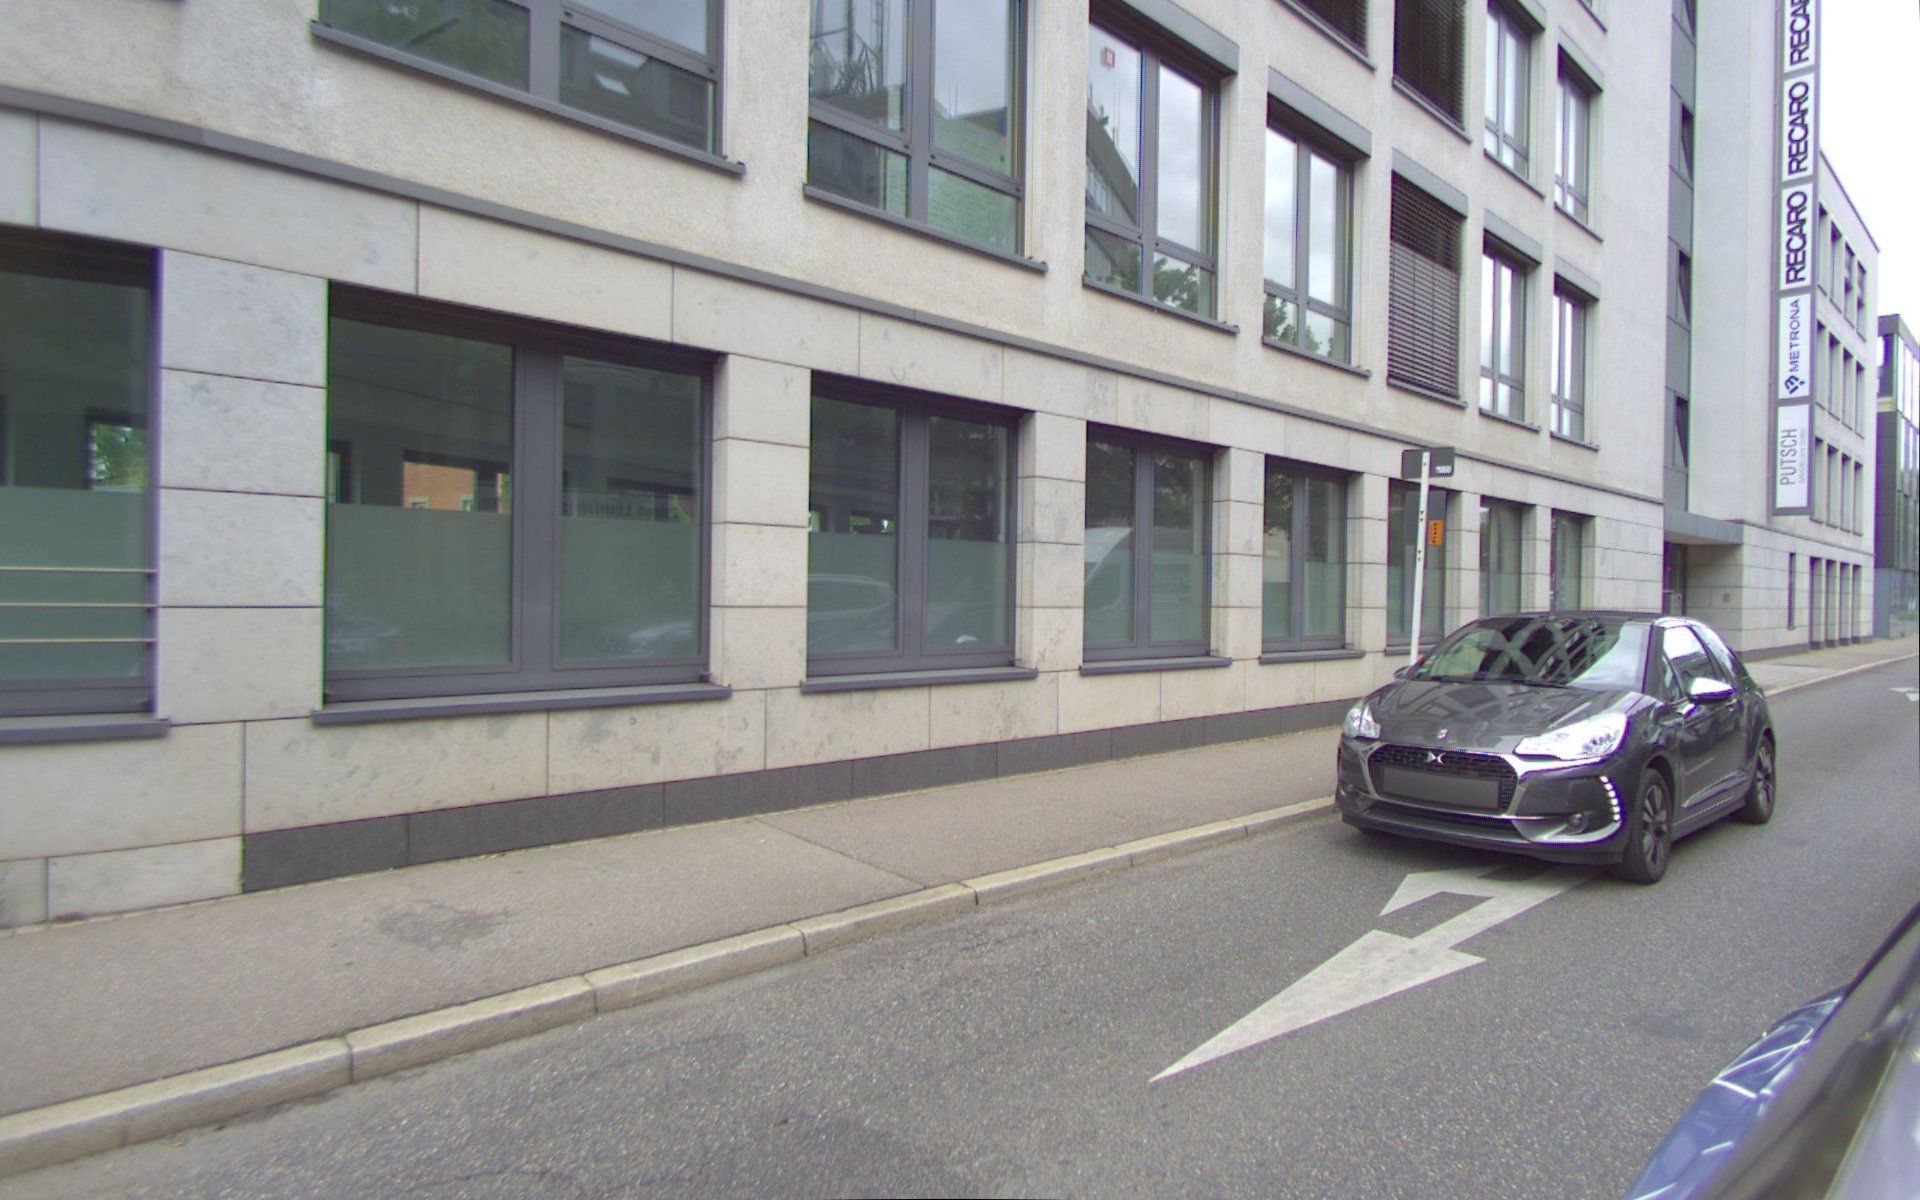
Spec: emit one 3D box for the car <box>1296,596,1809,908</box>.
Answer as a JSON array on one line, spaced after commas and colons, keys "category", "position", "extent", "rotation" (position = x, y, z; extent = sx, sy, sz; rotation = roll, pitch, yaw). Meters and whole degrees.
[{"category": "car", "position": [4.108, 0.729, 6.748], "extent": [3.990, 1.479, 1.704], "rotation": [0, -1, -40]}]
